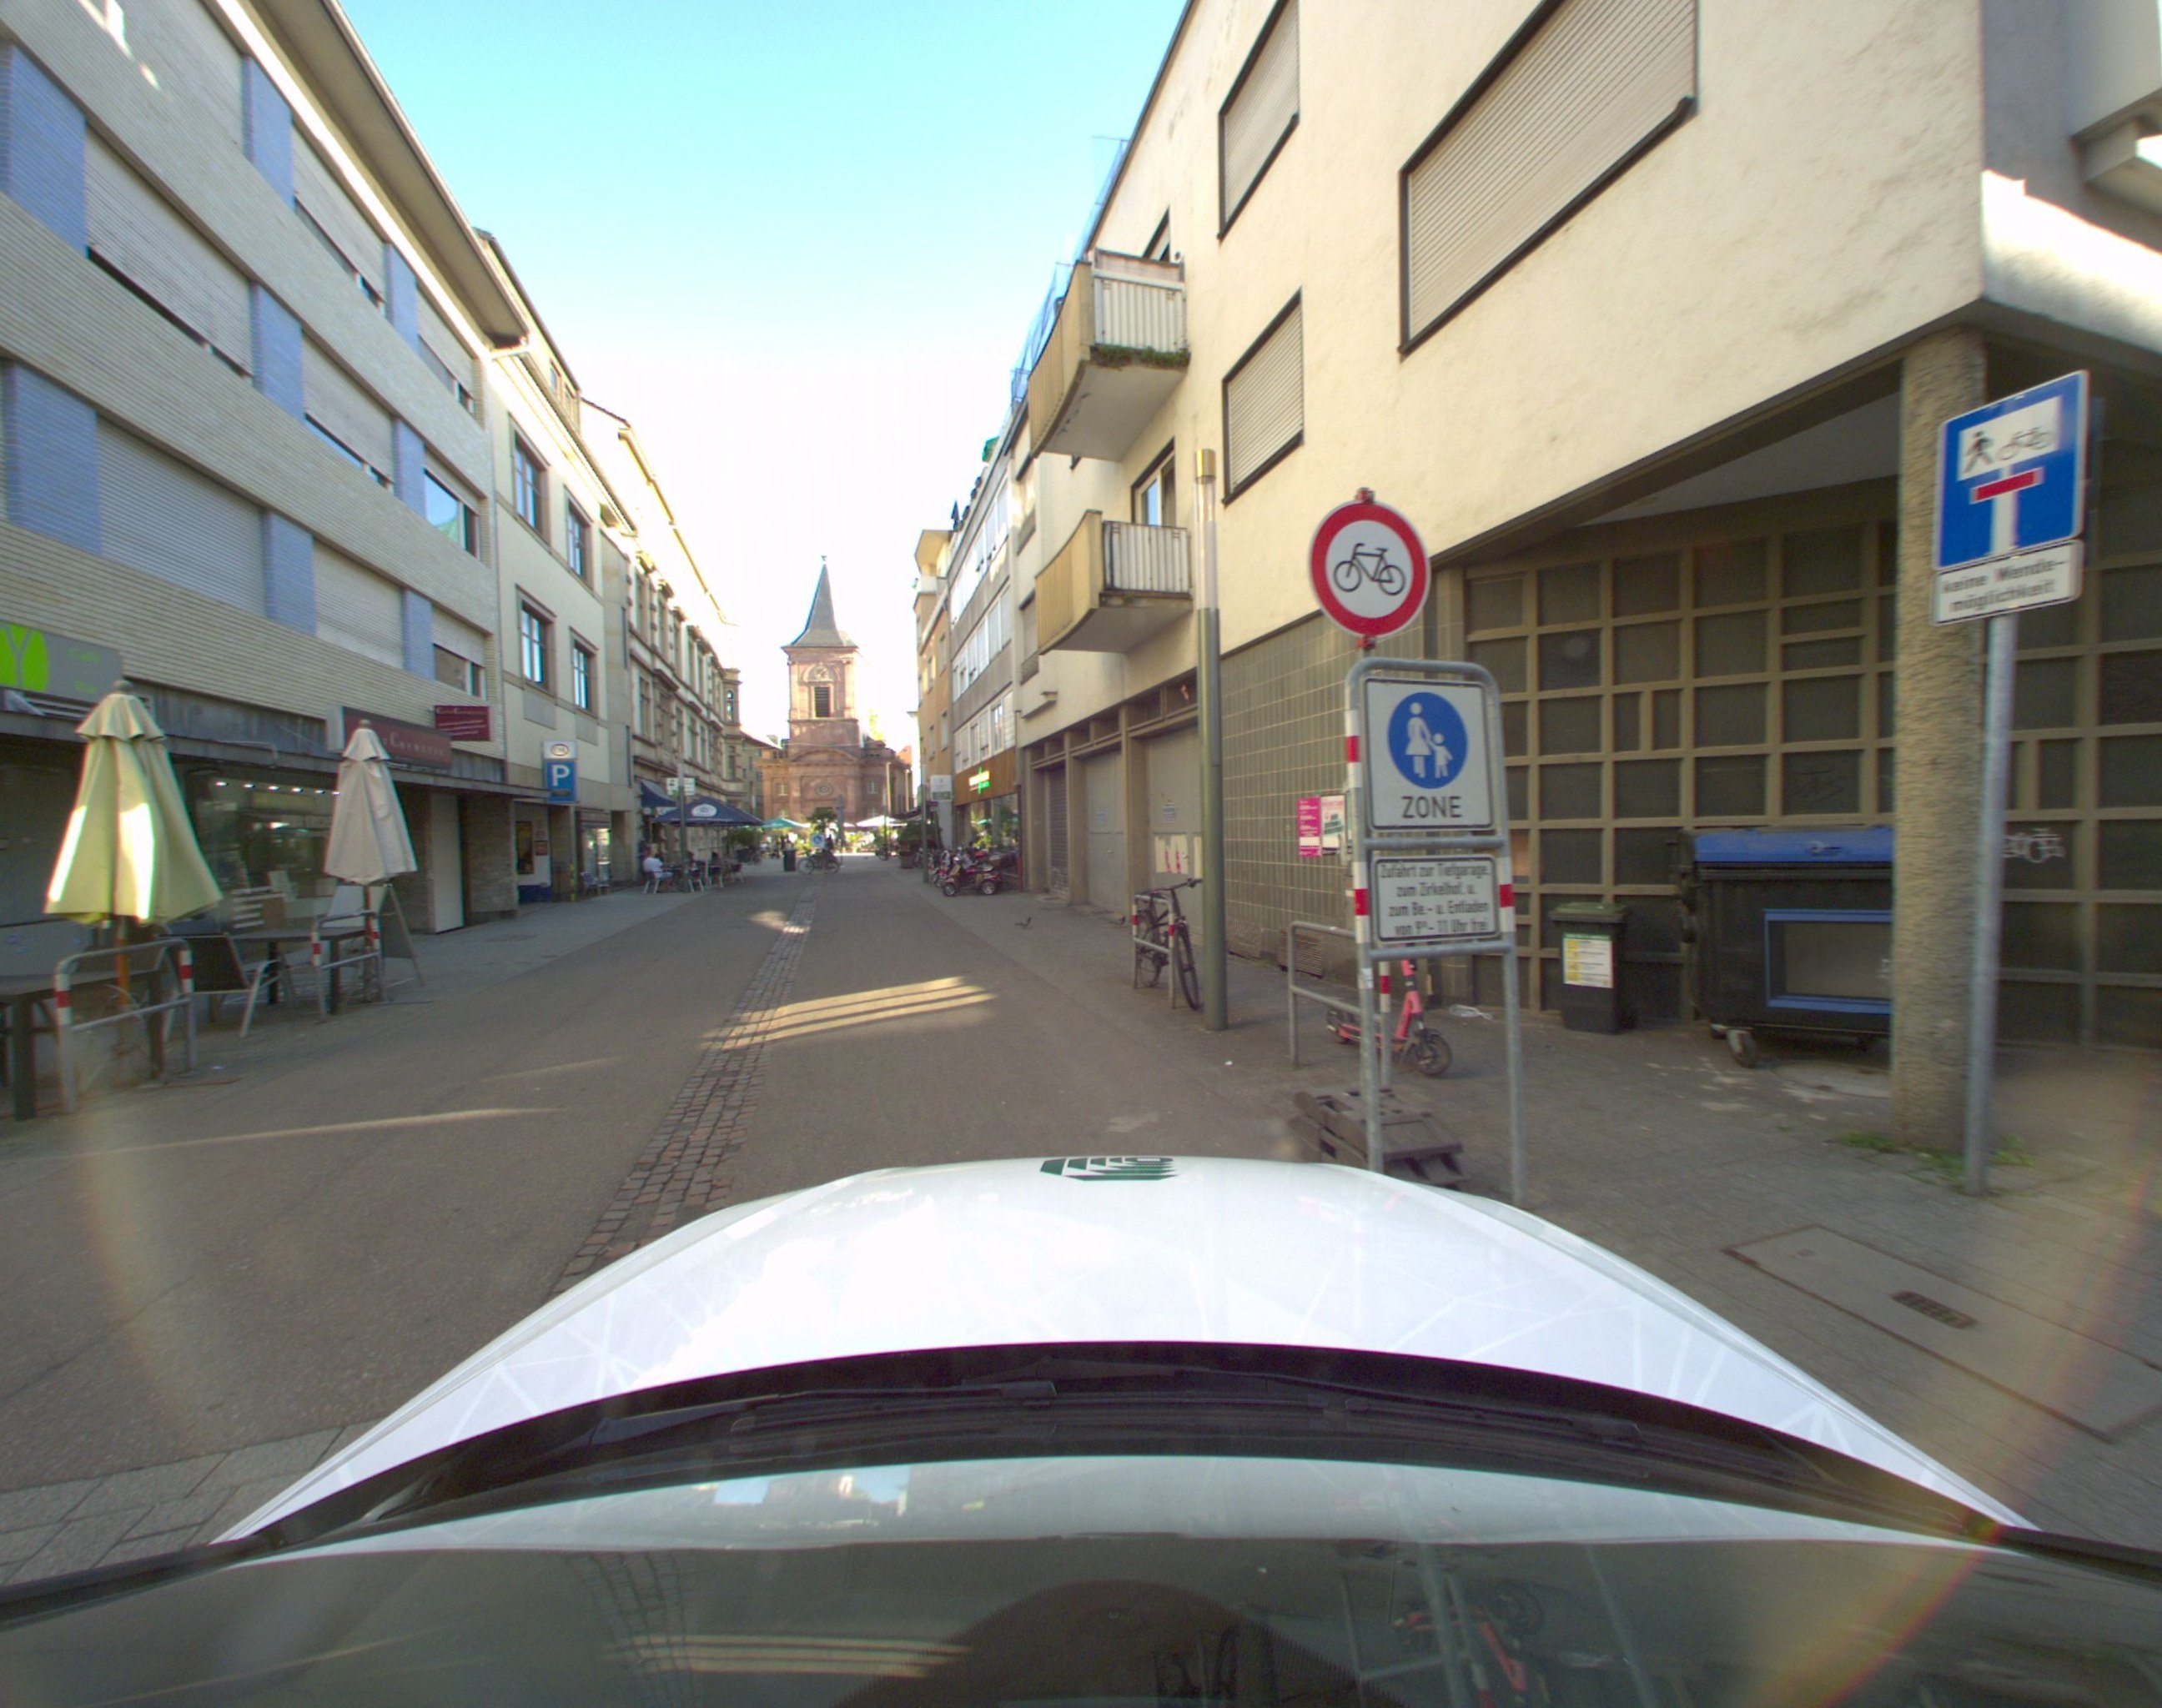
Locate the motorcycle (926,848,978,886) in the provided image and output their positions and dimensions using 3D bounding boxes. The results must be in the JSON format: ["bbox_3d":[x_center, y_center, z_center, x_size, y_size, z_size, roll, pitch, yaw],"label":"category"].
[{"bbox_3d":[-3.908,0.389,24.703,1.478,1.075,0.412,-2,1,0],"label":"motorcycle"}]

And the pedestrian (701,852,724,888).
[{"bbox_3d":[-12.827,0.558,28.359,0.695,1.215,0.578,-2,2,-25],"label":"pedestrian"}]

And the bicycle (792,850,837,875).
[{"bbox_3d":[-11.736,0.354,35.911,1.830,1.004,0.378,-2,2,-21],"label":"bicycle"}]

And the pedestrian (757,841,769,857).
[{"bbox_3d":[-23.912,-0.377,61.183,0.701,1.217,0.717,-2,1,-11],"label":"pedestrian"}]

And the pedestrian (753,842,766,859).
[{"bbox_3d":[-23.600,-0.285,59.791,0.701,1.217,0.717,-2,1,-11],"label":"pedestrian"}]

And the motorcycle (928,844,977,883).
[{"bbox_3d":[-4.188,0.302,26.564,1.480,1.181,0.412,-2,1,-3],"label":"motorcycle"}]

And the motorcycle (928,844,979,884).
[{"bbox_3d":[-3.984,0.312,25.470,1.480,1.181,0.412,-2,1,-3],"label":"motorcycle"}]

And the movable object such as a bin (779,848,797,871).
[{"bbox_3d":[-13.904,0.245,38.678,0.723,1.074,0.372,-2,2,-19],"label":"movable object such as a bin"}]

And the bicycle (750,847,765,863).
[{"bbox_3d":[-18.522,0.049,46.716,0.457,0.849,2.137,-2,2,-13],"label":"bicycle"}]

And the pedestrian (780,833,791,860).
[{"bbox_3d":[-20.510,-0.538,56.482,0.617,1.808,0.611,-2,1,-21],"label":"pedestrian"}]

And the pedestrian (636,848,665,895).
[{"bbox_3d":[-13.064,0.508,24.729,0.712,1.368,0.713,-3,2,-29],"label":"pedestrian"}]

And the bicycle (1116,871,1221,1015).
[{"bbox_3d":[0.763,0.750,7.592,0.447,1.139,1.703,-2,0,-12],"label":"bicycle"}]

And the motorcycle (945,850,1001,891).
[{"bbox_3d":[-3.012,0.458,22.791,1.478,1.075,0.412,-2,1,0],"label":"motorcycle"}]

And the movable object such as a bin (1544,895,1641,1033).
[{"bbox_3d":[3.767,0.786,6.029,0.535,0.923,0.516,-2,2,26],"label":"movable object such as a bin"}]

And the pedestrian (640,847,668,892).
[{"bbox_3d":[-13.431,0.478,25.602,0.722,1.368,0.703,-3,2,-29],"label":"pedestrian"}]

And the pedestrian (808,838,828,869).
[{"bbox_3d":[-12.986,-0.039,40.200,0.886,1.464,0.727,-2,1,-17],"label":"pedestrian"}]

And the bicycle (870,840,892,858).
[{"bbox_3d":[-15.140,-0.396,61.685,0.361,1.307,1.601,0,2,44],"label":"bicycle"}]

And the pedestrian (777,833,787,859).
[{"bbox_3d":[-20.967,-0.575,57.061,0.617,1.808,0.611,-2,1,-21],"label":"pedestrian"}]

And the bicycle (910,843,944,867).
[{"bbox_3d":[-6.975,0.049,36.947,1.463,1.004,0.571,-2,1,-11],"label":"bicycle"}]

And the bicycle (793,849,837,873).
[{"bbox_3d":[-11.859,0.304,36.288,1.830,1.004,0.378,-2,2,-21],"label":"bicycle"}]

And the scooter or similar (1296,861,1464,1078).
[{"bbox_3d":[1.948,0.687,5.449,0.308,1.252,1.230,-2,1,-20],"label":"scooter or similar"}]

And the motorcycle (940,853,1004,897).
[{"bbox_3d":[-2.823,0.538,21.076,1.558,1.041,0.372,-2,1,0],"label":"motorcycle"}]

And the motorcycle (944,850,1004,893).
[{"bbox_3d":[-2.863,0.472,21.871,1.511,1.075,0.412,-2,1,0],"label":"motorcycle"}]

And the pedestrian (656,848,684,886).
[{"bbox_3d":[-13.812,0.426,27.413,0.769,1.233,0.824,-2,2,-25],"label":"pedestrian"}]

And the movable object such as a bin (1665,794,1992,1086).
[{"bbox_3d":[4.615,0.443,5.206,1.275,1.588,1.163,-1,3,28],"label":"movable object such as a bin"}]

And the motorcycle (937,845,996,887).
[{"bbox_3d":[-3.353,0.349,23.967,1.619,1.175,0.480,-2,1,0],"label":"motorcycle"}]
